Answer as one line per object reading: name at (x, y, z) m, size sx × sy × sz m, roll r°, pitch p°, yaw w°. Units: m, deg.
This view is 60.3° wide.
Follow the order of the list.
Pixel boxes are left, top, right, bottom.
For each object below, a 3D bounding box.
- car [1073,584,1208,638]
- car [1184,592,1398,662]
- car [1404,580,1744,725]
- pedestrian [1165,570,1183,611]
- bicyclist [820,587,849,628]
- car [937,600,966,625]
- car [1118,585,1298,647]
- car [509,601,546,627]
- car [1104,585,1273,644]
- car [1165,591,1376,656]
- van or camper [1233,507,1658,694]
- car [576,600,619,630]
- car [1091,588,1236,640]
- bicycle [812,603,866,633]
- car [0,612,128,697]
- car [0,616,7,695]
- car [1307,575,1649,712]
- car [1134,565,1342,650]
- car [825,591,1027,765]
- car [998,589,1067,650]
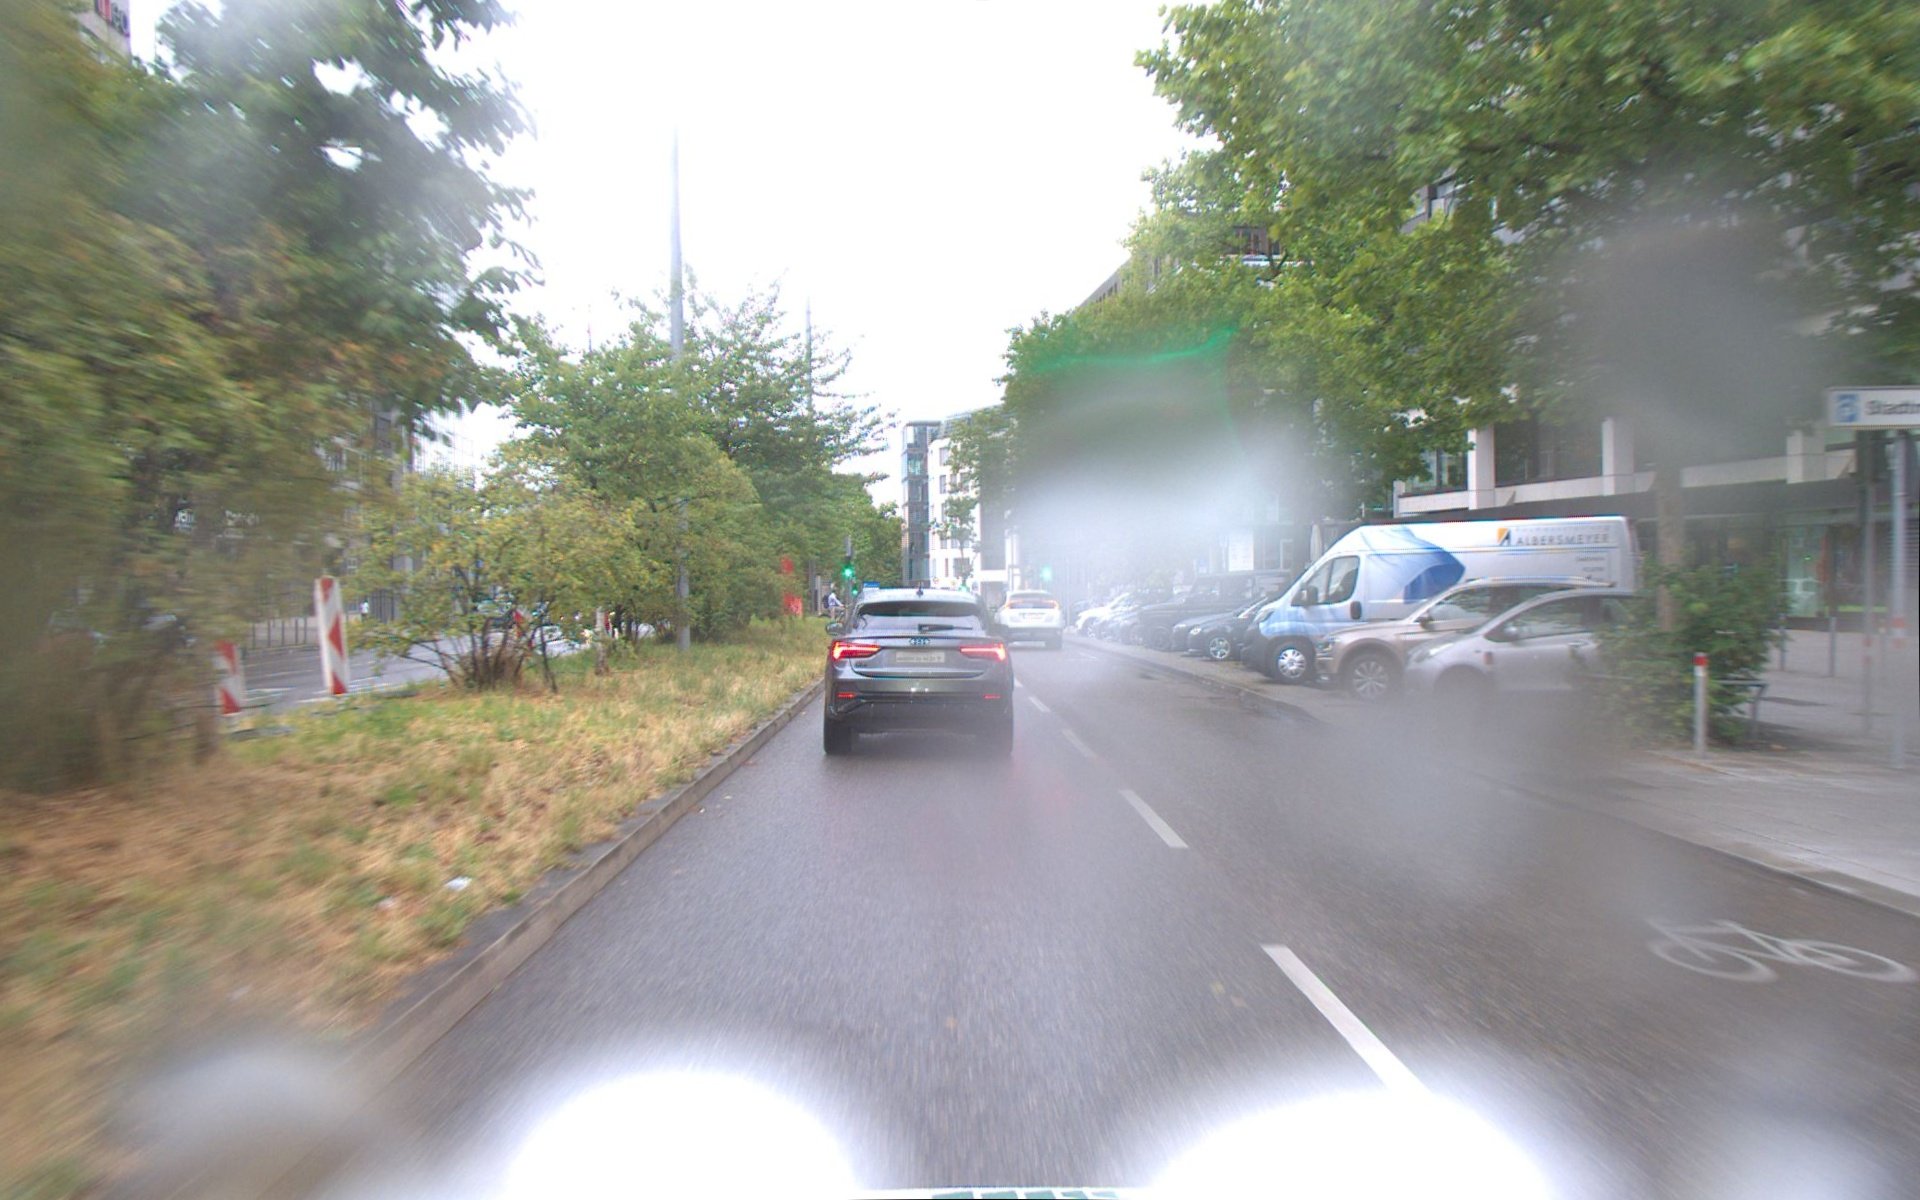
car at (6.118, 0.366, 55.994) m, size 4.135 × 1.698 × 1.837 m, roll -2°, pitch 0°, yaw 27°
car at (7.219, 0.574, 36.120) m, size 4.278 × 1.461 × 1.760 m, roll -1°, pitch 0°, yaw 26°
car at (7.097, 0.569, 19.363) m, size 3.572 × 1.574 × 1.715 m, roll 0°, pitch 0°, yaw 19°
pedestrian at (11.478, -0.493, 88.649) m, size 0.916 × 2.152 × 1.076 m, roll 0°, pitch -1°, yaw 11°
bicyclist at (-5.247, 0.321, 69.299) m, size 1.082 × 1.650 × 0.750 m, roll 2°, pitch -1°, yaw -1°
car at (-0.515, 0.770, 104.019) m, size 1.811 × 1.550 × 4.038 m, roll 0°, pitch 0°, yaw 0°
car at (6.733, 0.439, 44.929) m, size 4.462 × 1.533 × 1.868 m, roll -2°, pitch 0°, yaw 24°
car at (-26.464, 0.873, 101.289) m, size 1.693 × 1.477 × 3.587 m, roll -2°, pitch -1°, yaw -7°
car at (6.662, 0.424, 48.106) m, size 4.673 × 1.560 × 1.871 m, roll -2°, pitch 0°, yaw 14°
car at (7.291, 0.561, 38.965) m, size 4.534 × 1.419 × 1.845 m, roll -2°, pitch -1°, yaw 28°
van or camper at (7.360, 0.035, 25.248) m, size 5.947 × 2.603 × 2.102 m, roll -1°, pitch 0°, yaw 27°
car at (-17.779, 0.697, 81.235) m, size 1.772 × 1.333 × 3.992 m, roll -2°, pitch 1°, yaw -9°
car at (6.506, 0.449, 52.881) m, size 4.212 × 1.515 × 1.840 m, roll -2°, pitch 0°, yaw 29°
bicycle at (-5.061, 0.759, 69.293) m, size 2.209 × 1.182 × 0.750 m, roll 2°, pitch -1°, yaw -2°
car at (-18.535, 1.078, 33.510) m, size 1.654 × 1.546 × 3.622 m, roll -4°, pitch 0°, yaw -4°
car at (-18.444, 1.081, 28.274) m, size 1.733 × 1.459 × 4.669 m, roll -4°, pitch 0°, yaw -3°
car at (6.933, 0.531, 22.150) m, size 4.172 × 1.696 × 1.817 m, roll 0°, pitch 0°, yaw 26°
car at (7.072, 0.201, 42.149) m, size 4.839 × 2.013 × 1.928 m, roll -2°, pitch 0°, yaw 26°
car at (-0.335, 0.688, 16.863) m, size 1.812 × 1.550 × 4.038 m, roll 0°, pitch 0°, yaw -1°
car at (2.055, 0.543, 47.710) m, size 1.811 × 1.698 × 4.038 m, roll 0°, pitch 0°, yaw 0°
